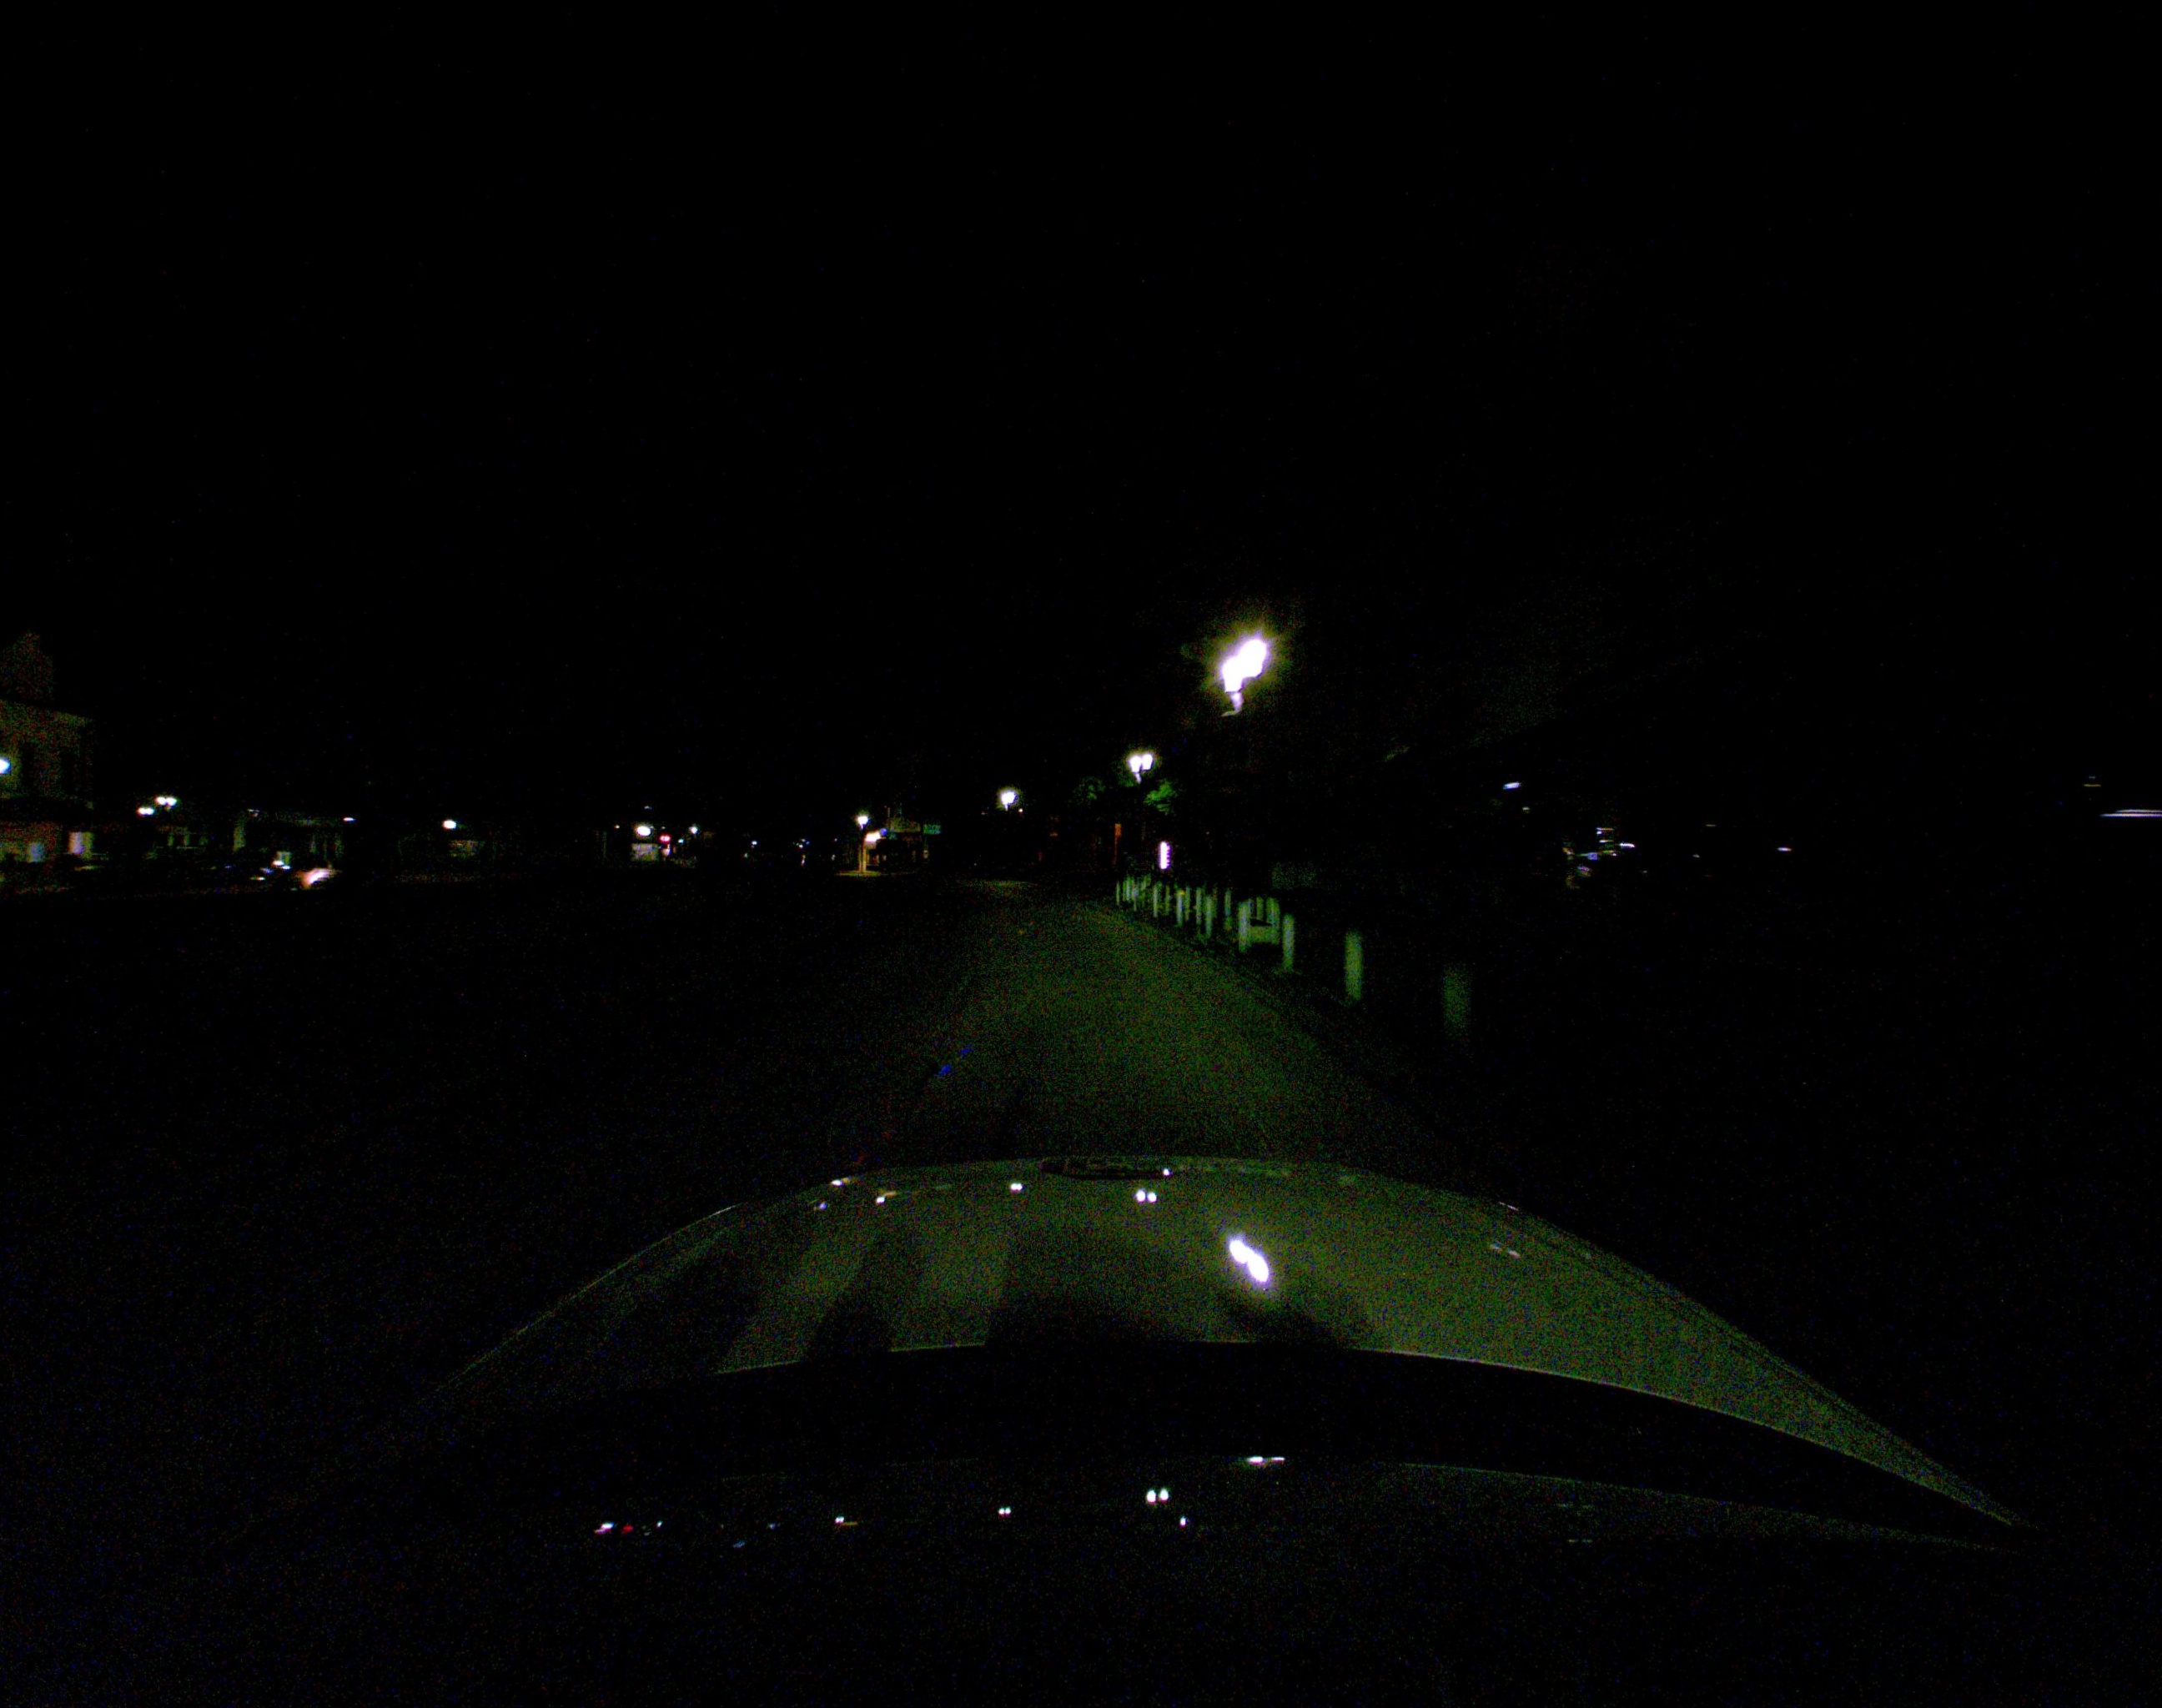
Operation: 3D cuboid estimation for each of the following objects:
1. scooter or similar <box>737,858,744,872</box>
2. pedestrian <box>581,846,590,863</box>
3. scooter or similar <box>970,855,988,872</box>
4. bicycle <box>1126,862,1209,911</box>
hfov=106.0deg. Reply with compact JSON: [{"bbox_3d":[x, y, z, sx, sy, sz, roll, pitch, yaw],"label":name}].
[{"bbox_3d":[-27.149,0.886,64.920,0.432,1.134,0.995,-1,1,-29],"label":"scooter or similar"},{"bbox_3d":[-44.762,0.067,73.557,0.475,1.546,0.463,0,1,31],"label":"pedestrian"},{"bbox_3d":[-7.742,0.751,61.928,1.251,1.227,0.594,2,0,-23],"label":"scooter or similar"},{"bbox_3d":[1.974,0.718,18.570,1.755,1.062,0.651,1,0,-20],"label":"bicycle"}]
